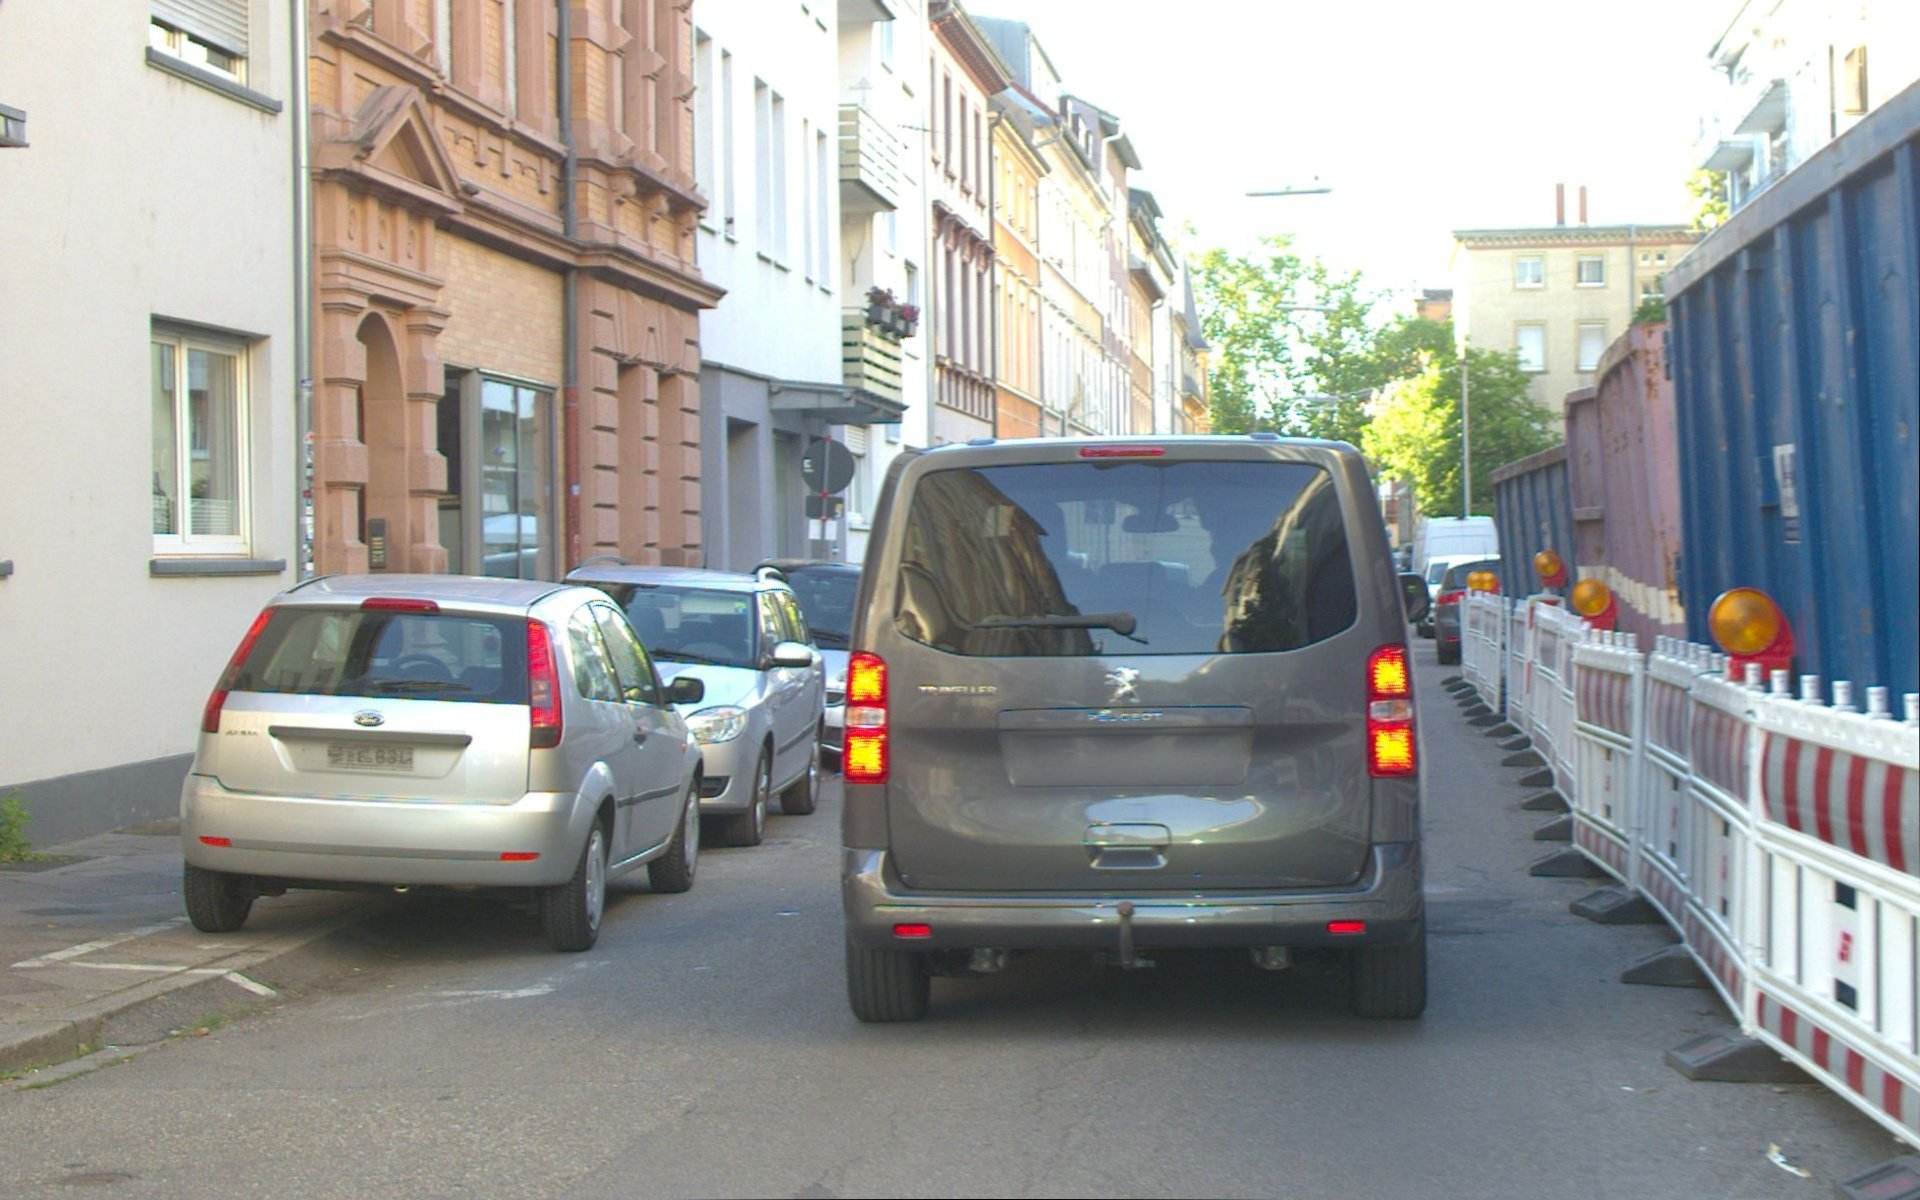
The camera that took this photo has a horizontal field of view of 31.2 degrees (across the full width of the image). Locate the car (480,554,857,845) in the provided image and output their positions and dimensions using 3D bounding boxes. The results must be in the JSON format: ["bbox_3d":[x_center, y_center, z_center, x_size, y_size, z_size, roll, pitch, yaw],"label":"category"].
[{"bbox_3d":[-1.635,0.511,20.359,1.555,1.503,3.597,2,1,6],"label":"car"}]

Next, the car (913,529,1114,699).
[{"bbox_3d":[0.683,0.116,39.941,1.994,1.852,4.584,0,1,5],"label":"car"}]

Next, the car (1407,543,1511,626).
[{"bbox_3d":[10.072,-0.327,69.614,1.722,1.606,4.588,-1,1,4],"label":"car"}]

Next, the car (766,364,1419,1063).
[{"bbox_3d":[0.586,0.311,12.210,1.858,2.007,3.999,-3,1,6],"label":"car"}]

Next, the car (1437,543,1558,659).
[{"bbox_3d":[8.188,-0.028,52.483,1.749,1.677,4.524,0,1,9],"label":"car"}]

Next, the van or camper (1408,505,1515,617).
[{"bbox_3d":[12.393,-0.976,85.399,2.100,2.593,7.511,-2,1,5],"label":"van or camper"}]

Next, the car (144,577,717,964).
[{"bbox_3d":[-2.140,0.635,14.818,1.632,1.425,3.554,0,1,5],"label":"car"}]

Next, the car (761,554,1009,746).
[{"bbox_3d":[-0.606,0.397,30.871,1.740,1.594,4.014,0,1,6],"label":"car"}]

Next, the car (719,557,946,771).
[{"bbox_3d":[-0.958,0.461,27.003,1.396,1.583,2.793,0,1,6],"label":"car"}]

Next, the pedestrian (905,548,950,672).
[{"bbox_3d":[-0.430,0.127,45.839,0.495,1.633,0.665,1,1,7],"label":"pedestrian"}]
